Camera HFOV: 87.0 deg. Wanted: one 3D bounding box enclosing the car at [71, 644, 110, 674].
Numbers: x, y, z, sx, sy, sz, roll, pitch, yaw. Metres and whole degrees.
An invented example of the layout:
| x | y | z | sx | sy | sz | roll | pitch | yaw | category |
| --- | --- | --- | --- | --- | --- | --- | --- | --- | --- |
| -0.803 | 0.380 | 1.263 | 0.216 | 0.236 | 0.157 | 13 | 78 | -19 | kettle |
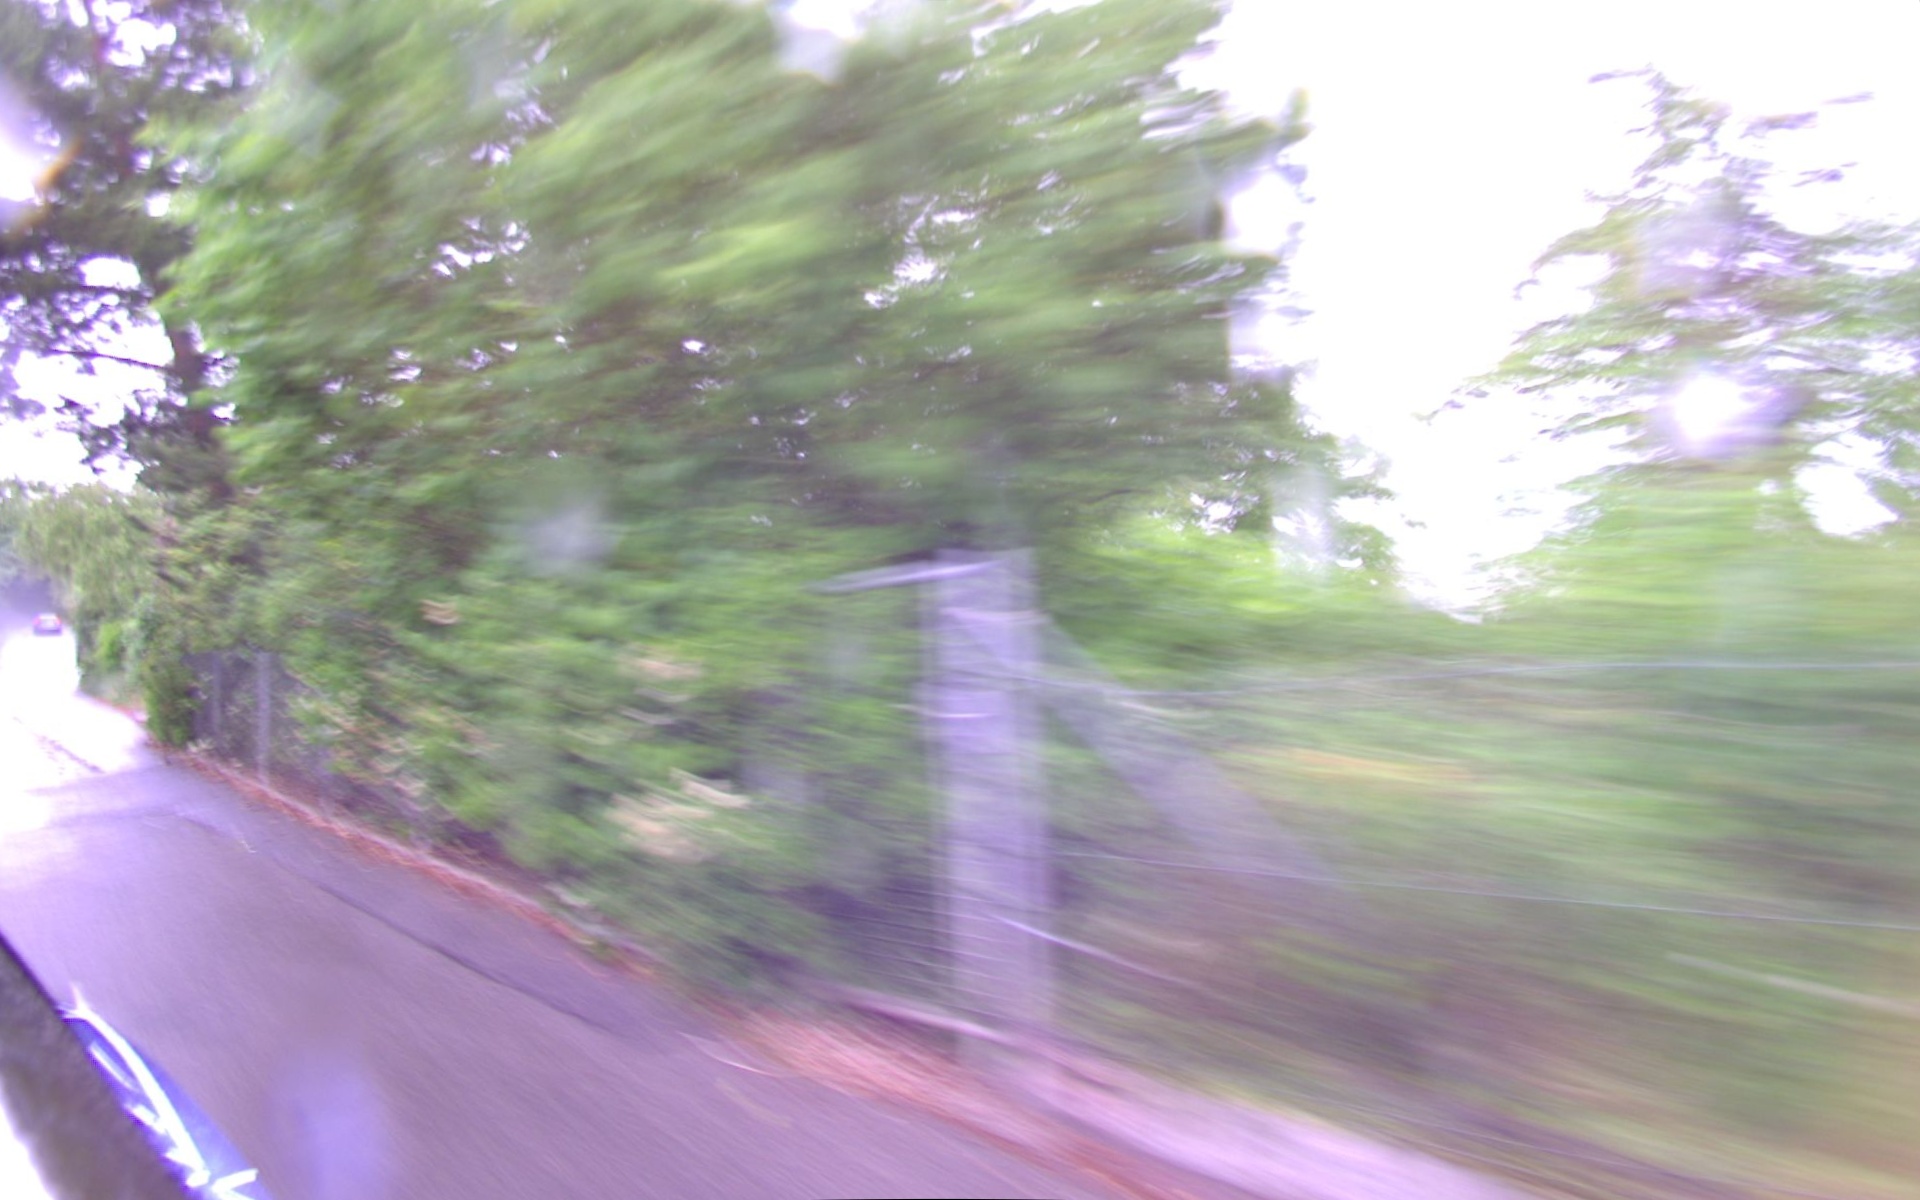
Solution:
| x | y | z | sx | sy | sz | roll | pitch | yaw | category |
| --- | --- | --- | --- | --- | --- | --- | --- | --- | --- |
| -52.480 | 3.541 | 61.056 | 1.665 | 1.740 | 4.073 | 4 | -5 | -41 | car |

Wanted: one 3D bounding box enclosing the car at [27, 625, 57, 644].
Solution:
| x | y | z | sx | sy | sz | roll | pitch | yaw | category |
| --- | --- | --- | --- | --- | --- | --- | --- | --- | --- |
| -85.506 | 3.196 | 94.237 | 1.900 | 1.633 | 4.465 | 0 | -3 | -44 | car |
